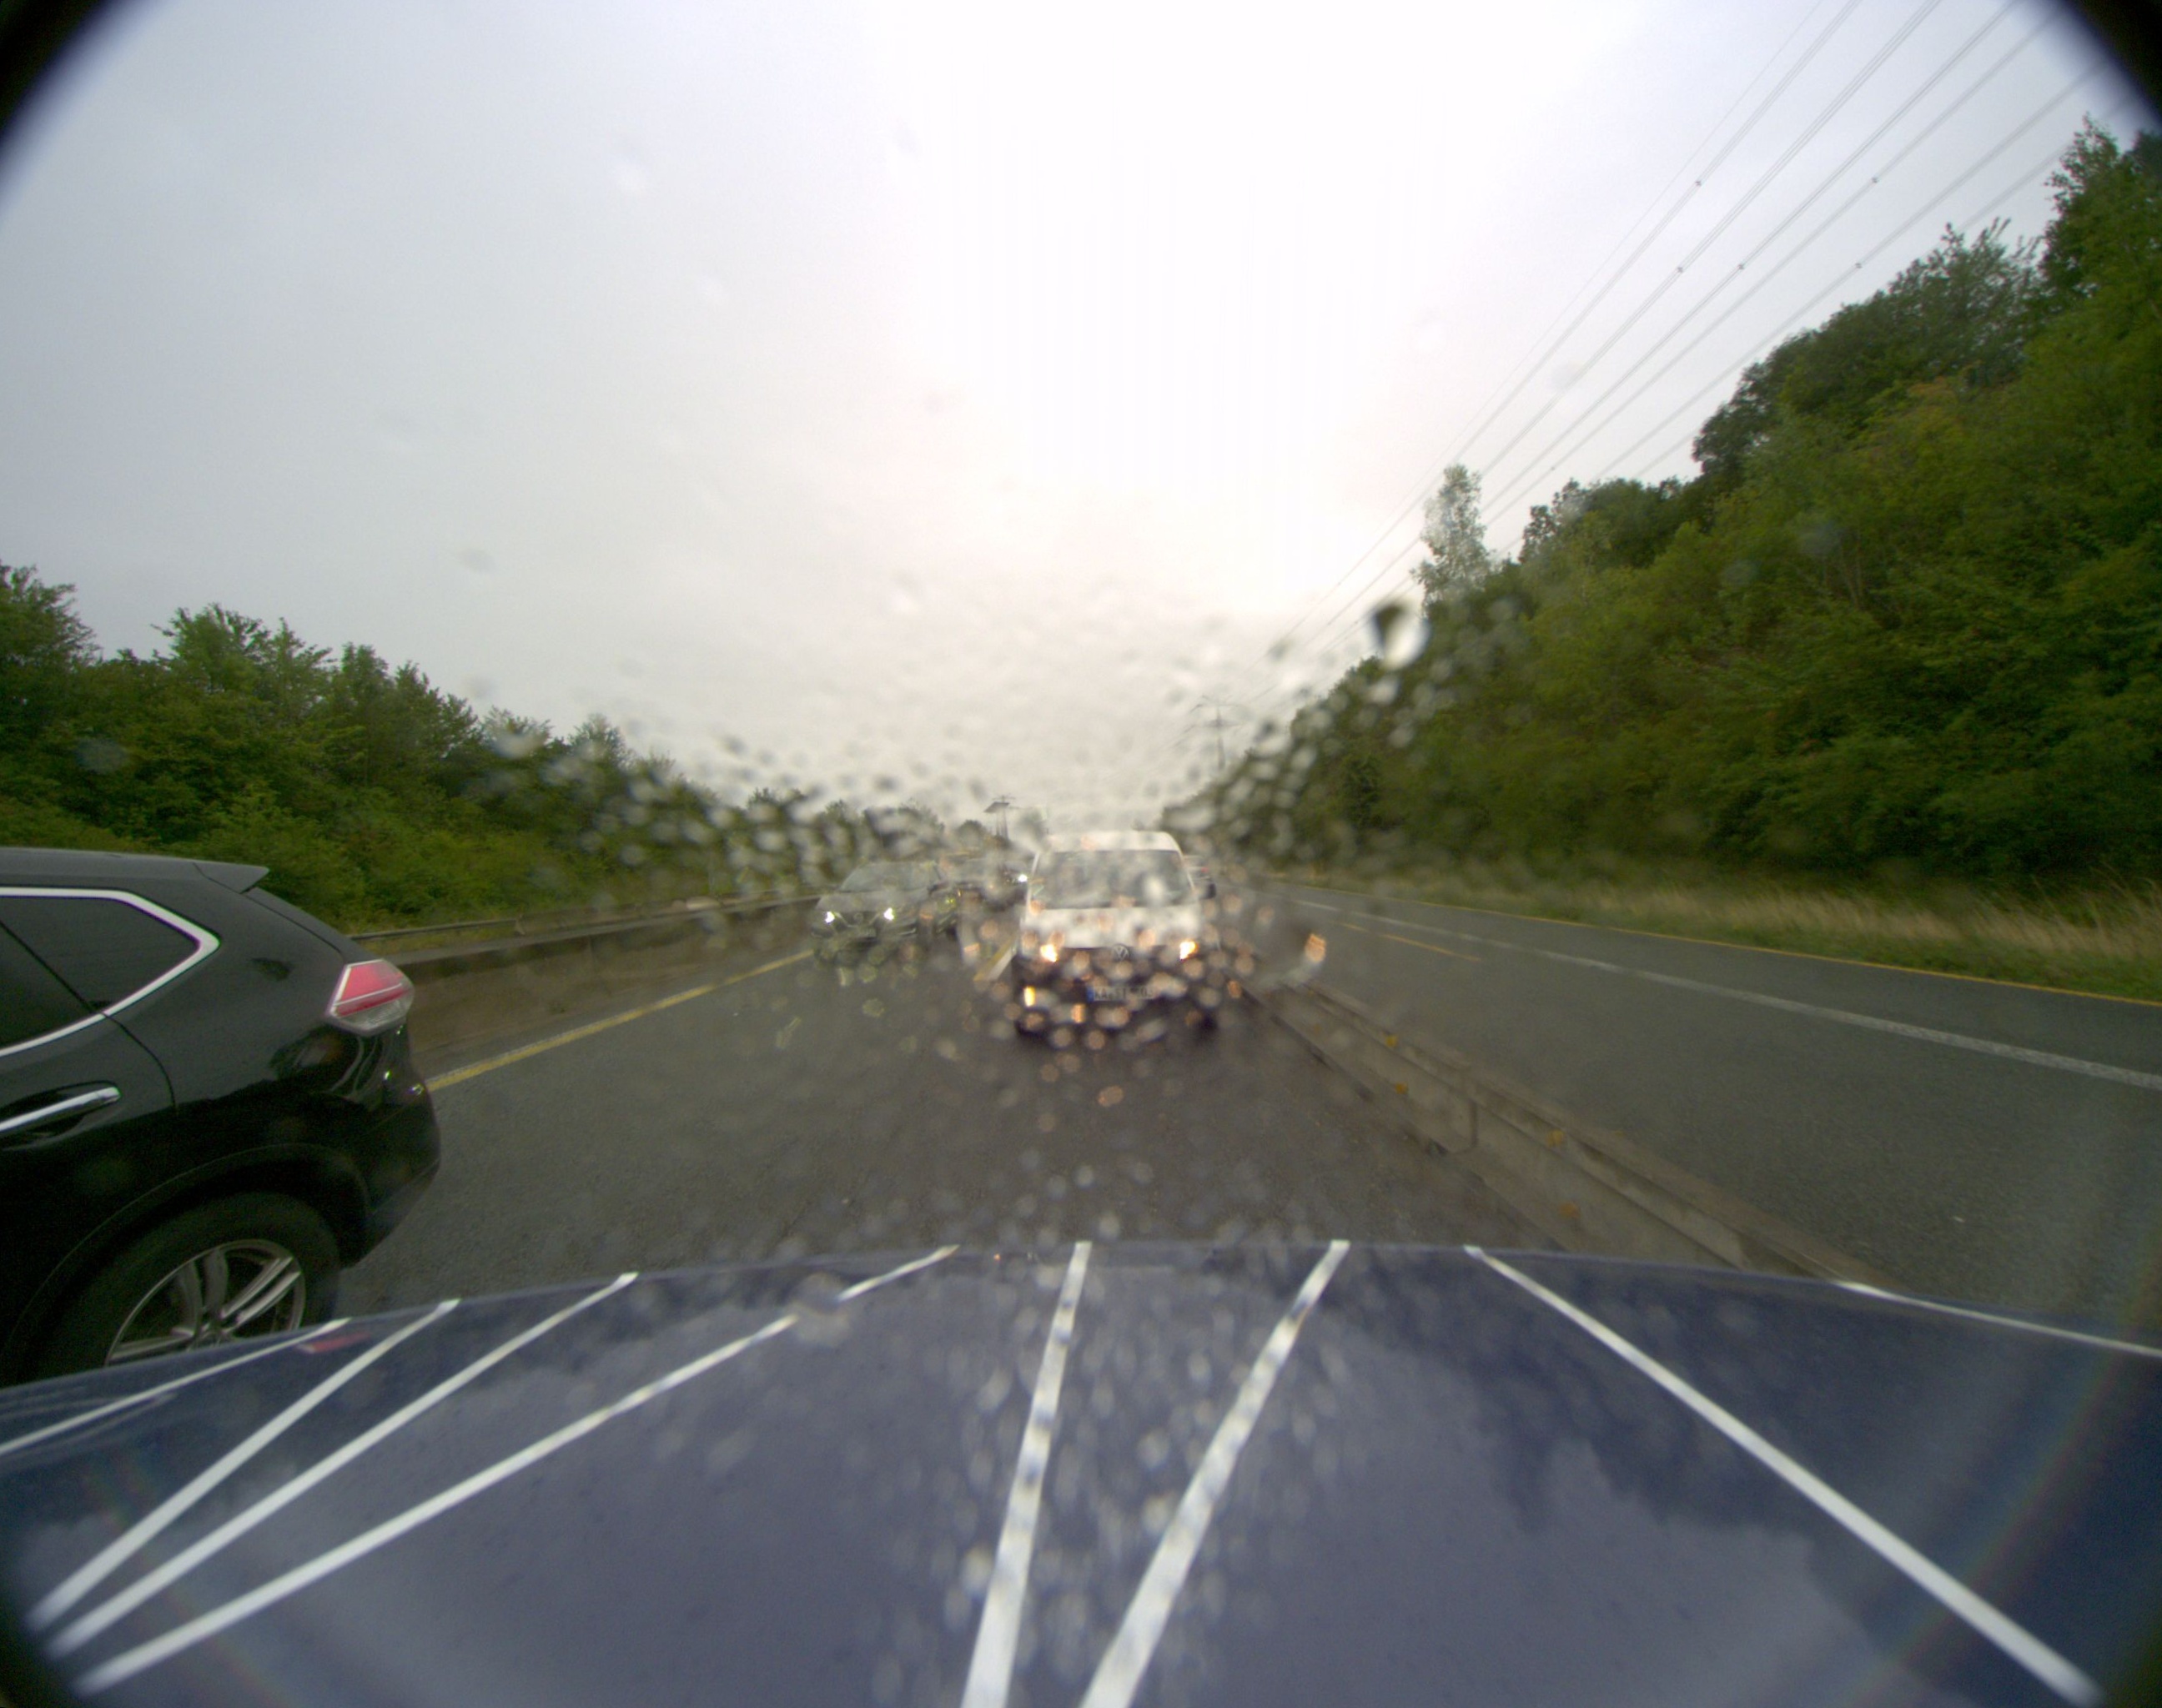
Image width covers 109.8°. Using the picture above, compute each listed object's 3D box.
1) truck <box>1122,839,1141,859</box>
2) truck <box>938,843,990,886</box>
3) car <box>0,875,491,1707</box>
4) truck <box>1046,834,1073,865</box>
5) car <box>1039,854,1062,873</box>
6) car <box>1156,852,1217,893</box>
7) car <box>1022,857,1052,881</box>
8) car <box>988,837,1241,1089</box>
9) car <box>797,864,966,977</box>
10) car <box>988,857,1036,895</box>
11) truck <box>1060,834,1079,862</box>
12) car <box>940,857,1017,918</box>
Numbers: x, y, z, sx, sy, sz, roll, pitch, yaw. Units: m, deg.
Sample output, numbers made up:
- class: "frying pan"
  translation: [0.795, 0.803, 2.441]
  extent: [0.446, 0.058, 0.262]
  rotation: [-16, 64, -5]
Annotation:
- class: "truck"
  translation: [8.937, -0.876, 134.910]
  extent: [2.541, 3.333, 12.048]
  rotation: [-2, 1, 1]
- class: "truck"
  translation: [-9.920, 0.774, 65.448]
  extent: [2.619, 3.404, 9.575]
  rotation: [-2, 1, 2]
- class: "car"
  translation: [-3.181, 0.970, 0.516]
  extent: [1.894, 1.665, 4.640]
  rotation: [-2, 1, 0]
- class: "truck"
  translation: [-2.463, -0.599, 91.696]
  extent: [2.619, 3.404, 9.575]
  rotation: [-2, 1, 1]
- class: "car"
  translation: [-2.632, 0.783, 66.295]
  extent: [1.784, 1.482, 4.123]
  rotation: [-2, 1, 0]
- class: "car"
  translation: [4.202, 0.699, 30.792]
  extent: [1.784, 1.435, 4.327]
  rotation: [-2, 1, 0]
- class: "car"
  translation: [-2.966, 0.985, 51.781]
  extent: [1.784, 1.482, 4.123]
  rotation: [-2, 1, 0]
- class: "car"
  translation: [0.229, 0.770, 7.888]
  extent: [1.784, 1.775, 4.697]
  rotation: [-2, 1, 0]
- class: "car"
  translation: [-3.199, 0.987, 13.039]
  extent: [1.784, 1.482, 4.123]
  rotation: [-2, 1, 0]
- class: "car"
  translation: [-3.018, 0.917, 34.013]
  extent: [1.784, 1.482, 4.123]
  rotation: [-2, 1, 0]
- class: "truck"
  translation: [-1.758, -0.940, 114.783]
  extent: [2.619, 3.869, 9.574]
  rotation: [-2, 1, 0]
- class: "car"
  translation: [-3.050, 0.953, 23.423]
  extent: [1.784, 1.589, 4.123]
  rotation: [-2, 1, 0]
